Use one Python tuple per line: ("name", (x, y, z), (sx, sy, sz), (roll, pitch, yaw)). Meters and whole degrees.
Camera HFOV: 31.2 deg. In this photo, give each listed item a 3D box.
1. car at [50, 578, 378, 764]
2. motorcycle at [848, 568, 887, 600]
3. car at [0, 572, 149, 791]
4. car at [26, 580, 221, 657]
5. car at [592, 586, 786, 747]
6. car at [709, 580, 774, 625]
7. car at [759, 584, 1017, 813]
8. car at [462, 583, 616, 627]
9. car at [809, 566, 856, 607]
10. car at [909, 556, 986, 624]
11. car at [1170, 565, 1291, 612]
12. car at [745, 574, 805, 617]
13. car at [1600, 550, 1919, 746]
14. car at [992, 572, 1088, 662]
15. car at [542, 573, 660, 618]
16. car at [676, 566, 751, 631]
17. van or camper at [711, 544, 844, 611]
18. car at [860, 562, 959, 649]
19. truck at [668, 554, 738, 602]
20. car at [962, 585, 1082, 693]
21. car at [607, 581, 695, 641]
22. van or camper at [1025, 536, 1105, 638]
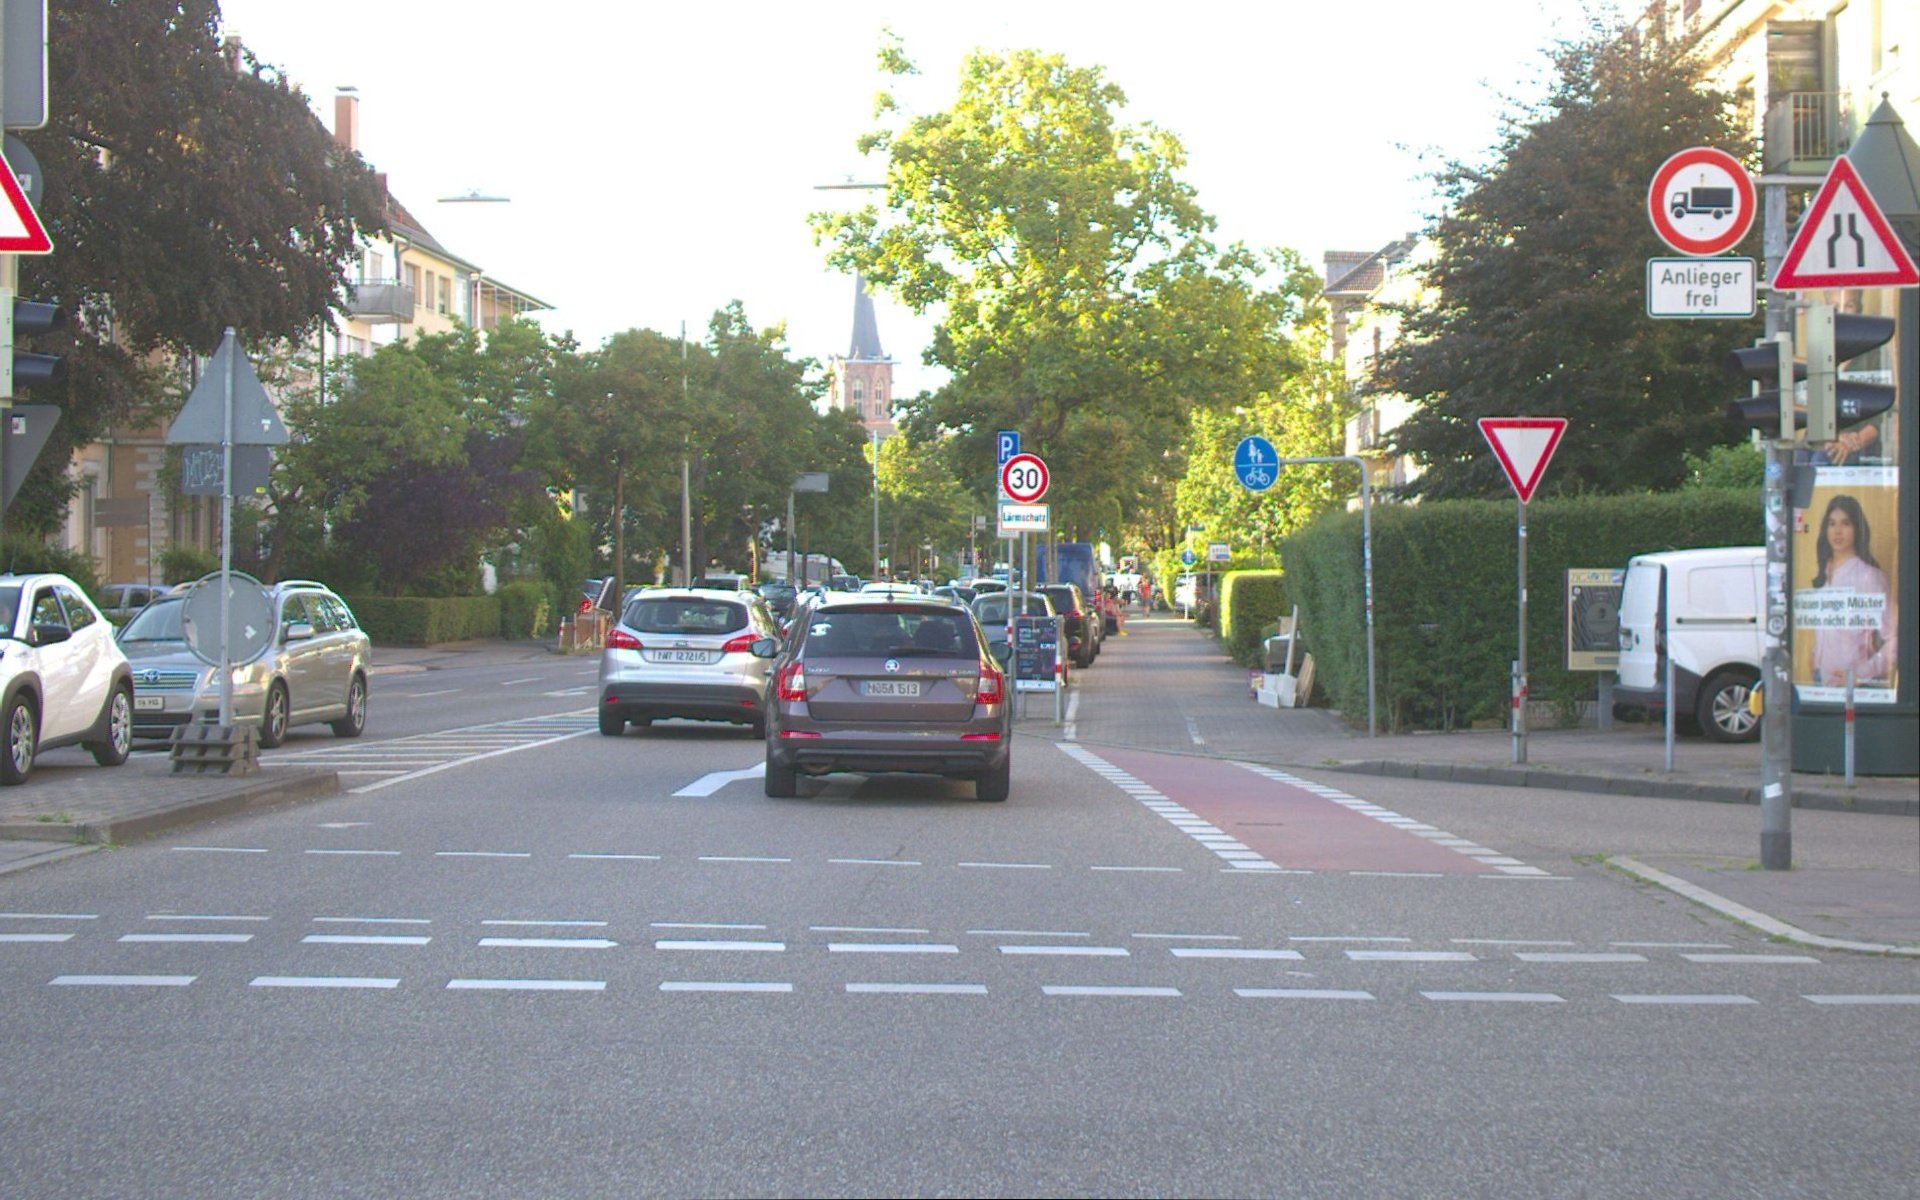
("car", (-6.693, 0.586, 31.341), (1.828, 1.509, 4.604), (0, 1, 2))
("motorcycle", (-4.418, -0.771, 164.738), (0.764, 1.506, 2.030), (0, 1, -40))
("car", (-7.424, 0.544, 25.358), (1.828, 1.455, 3.902), (0, 1, 2))
("car", (-16.790, 0.359, 69.096), (3.497, 1.481, 1.816), (0, 1, -1))
("car", (-2.703, 0.630, 35.006), (1.729, 1.488, 3.951), (0, 1, -1))
("car", (-7.175, 0.059, 113.201), (1.717, 1.416, 3.786), (0, 1, 3))
("car", (-0.520, 0.653, 25.112), (1.729, 1.488, 3.951), (0, 1, -1))
("car", (-13.263, 0.157, 108.161), (4.709, 1.358, 2.001), (0, 1, -10))
("car", (-5.525, -0.586, 149.786), (1.750, 1.734, 3.590), (0, 1, 3))
("car", (-0.291, -0.270, 86.002), (1.732, 1.645, 3.541), (0, 1, 3))
("car", (10.925, -0.472, 138.915), (4.532, 1.886, 1.915), (0, 1, -25))
("car", (-6.658, -0.174, 123.907), (1.717, 1.492, 4.247), (0, 1, 3))
("car", (8.352, 0.435, 32.900), (4.087, 1.808, 1.861), (0, 1, 0))
("car", (1.575, 0.303, 66.437), (1.732, 1.645, 4.291), (0, 1, 3))
("car", (-12.780, -0.177, 122.551), (3.987, 1.474, 2.000), (1, 1, -1))
("car", (-7.613, -0.070, 106.465), (1.770, 1.912, 4.459), (0, 1, 3))
("van or camper", (-10.658, -1.335, 201.323), (7.640, 3.861, 2.000), (0, 1, 1))
("car", (-0.969, 0.088, 67.742), (1.732, 1.645, 3.541), (0, 1, 3))
("truck", (-11.317, -0.986, 151.549), (2.913, 2.086, 1.546), (0, 1, 2))
("car", (0.982, 0.573, 52.759), (1.732, 1.545, 3.646), (0, 1, 3))
("car", (-8.116, 0.265, 90.535), (1.750, 1.497, 4.196), (0, 1, 3))
("van or camper", (2.887, -0.345, 93.682), (2.068, 2.666, 5.989), (0, 0, 3))
